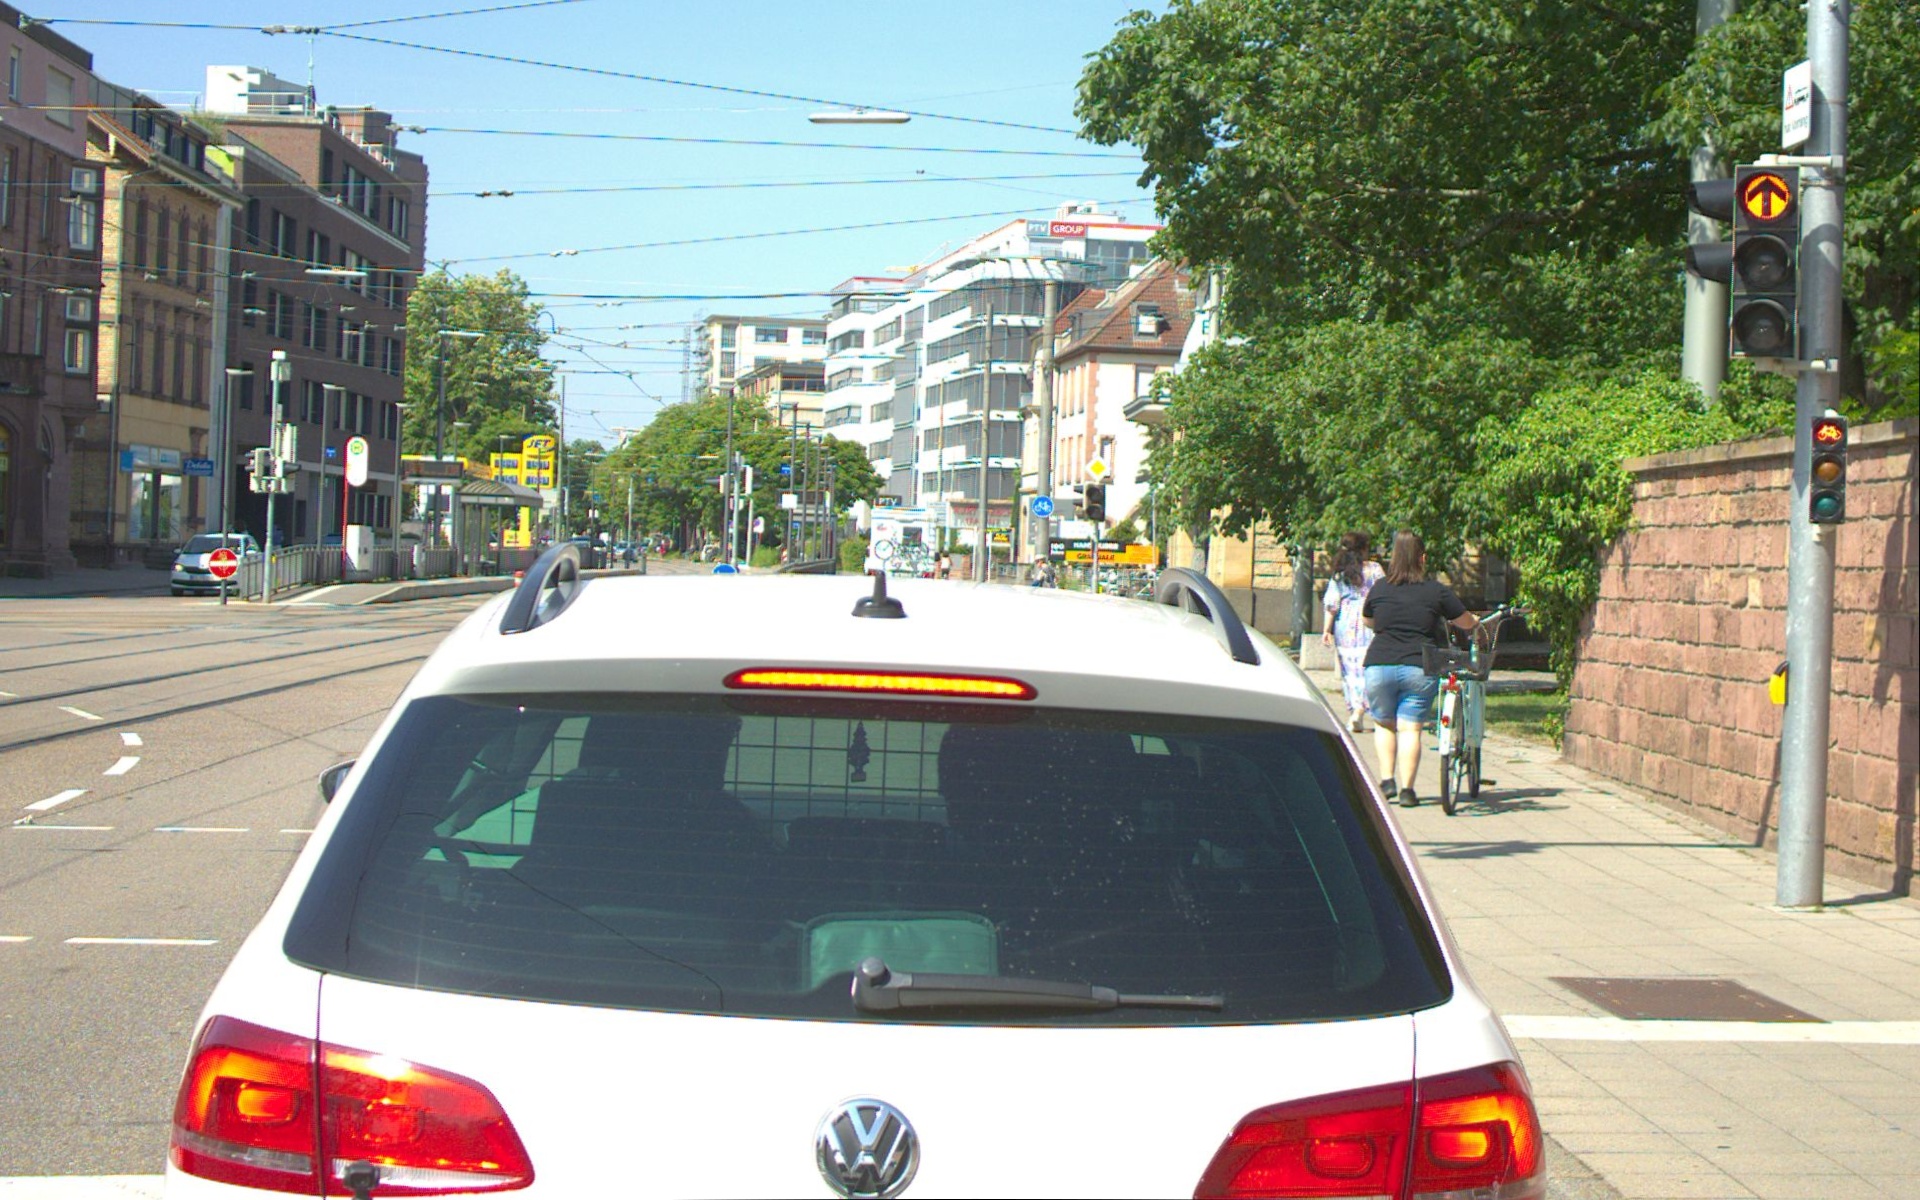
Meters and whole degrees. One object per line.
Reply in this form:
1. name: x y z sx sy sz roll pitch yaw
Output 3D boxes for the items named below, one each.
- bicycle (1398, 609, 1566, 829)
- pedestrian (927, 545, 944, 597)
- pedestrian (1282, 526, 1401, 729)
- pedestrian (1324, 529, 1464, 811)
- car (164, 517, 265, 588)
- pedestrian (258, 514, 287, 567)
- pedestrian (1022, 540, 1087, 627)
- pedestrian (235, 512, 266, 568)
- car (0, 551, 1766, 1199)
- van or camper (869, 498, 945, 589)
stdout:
1. bicycle: 2.972 0.638 19.443 0.708 1.086 2.025 1 2 15
2. pedestrian: -1.094 -1.286 153.643 0.690 2.317 1.232 0 0 1
3. pedestrian: 3.142 0.222 28.368 0.953 1.645 0.975 0 0 6
4. pedestrian: 2.497 0.385 19.746 0.673 1.566 0.747 1 2 15
5. car: -17.477 -1.092 80.785 1.740 1.612 4.000 0 0 -4
6. pedestrian: -22.999 -1.993 114.992 0.861 1.737 0.975 0 0 -6
7. pedestrian: 1.899 -0.335 69.075 0.974 1.737 0.862 0 0 37
8. pedestrian: -22.291 -1.896 108.052 0.861 1.737 0.975 0 0 -6
9. car: -0.143 0.675 5.453 1.808 1.443 4.000 1 1 -1
10. van or camper: -1.871 -1.952 120.297 2.567 3.082 5.703 0 0 -1
